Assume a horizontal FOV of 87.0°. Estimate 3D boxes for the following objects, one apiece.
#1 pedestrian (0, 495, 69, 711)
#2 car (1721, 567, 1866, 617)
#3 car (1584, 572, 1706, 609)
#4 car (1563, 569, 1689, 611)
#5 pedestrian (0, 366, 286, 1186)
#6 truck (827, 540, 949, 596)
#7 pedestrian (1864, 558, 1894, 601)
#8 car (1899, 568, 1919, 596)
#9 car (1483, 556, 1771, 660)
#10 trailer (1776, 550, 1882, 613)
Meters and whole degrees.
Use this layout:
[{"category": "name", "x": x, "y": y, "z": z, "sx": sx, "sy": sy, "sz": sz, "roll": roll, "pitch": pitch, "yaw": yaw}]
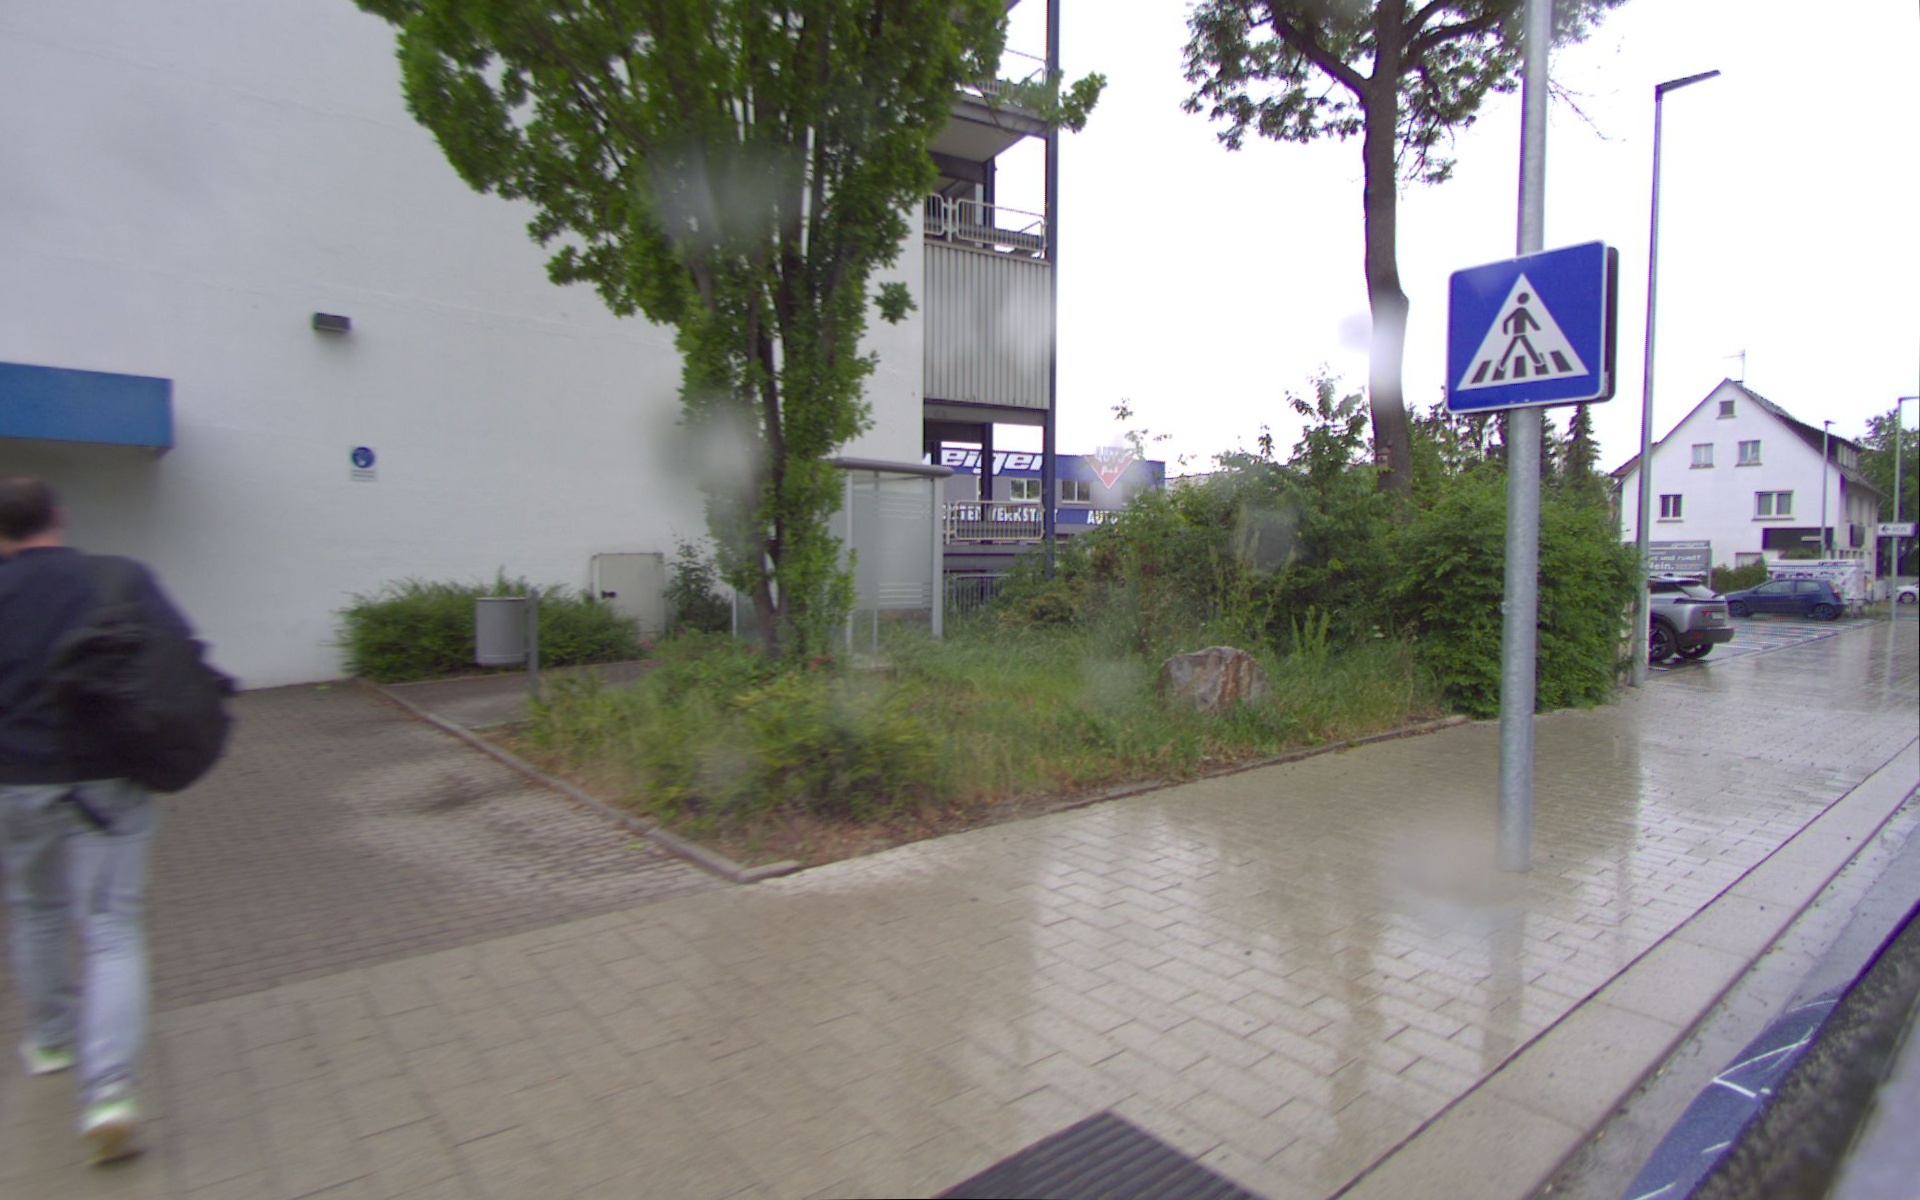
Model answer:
[{"category": "pedestrian", "x": -8.402, "y": 0.023, "z": 8.953, "sx": 0.759, "sy": 1.859, "sz": 0.570, "roll": 0, "pitch": 1, "yaw": -43}, {"category": "car", "x": 29.690, "y": -0.333, "z": 36.112, "sx": 1.621, "sy": 1.547, "sz": 3.734, "roll": -2, "pitch": 4, "yaw": -40}, {"category": "car", "x": 27.061, "y": -0.406, "z": 40.066, "sx": 1.665, "sy": 1.331, "sz": 3.730, "roll": -1, "pitch": 3, "yaw": -43}, {"category": "car", "x": 25.299, "y": -0.409, "z": 38.524, "sx": 1.702, "sy": 1.467, "sz": 3.730, "roll": -1, "pitch": 3, "yaw": -43}, {"category": "pedestrian", "x": -2.288, "y": 0.366, "z": 2.617, "sx": 0.759, "sy": 1.746, "sz": 1.014, "roll": 0, "pitch": 1, "yaw": -43}, {"category": "truck", "x": -3.328, "y": -1.490, "z": 46.883, "sx": 5.204, "sy": 2.297, "sz": 2.001, "roll": -3, "pitch": 0, "yaw": -31}, {"category": "pedestrian", "x": 44.658, "y": -0.991, "z": 49.183, "sx": 1.175, "sy": 2.038, "sz": 0.860, "roll": -1, "pitch": 4, "yaw": -42}, {"category": "car", "x": 57.588, "y": -0.980, "z": 58.822, "sx": 4.118, "sy": 1.599, "sz": 1.975, "roll": 4, "pitch": 3, "yaw": 36}, {"category": "car", "x": 12.839, "y": 0.050, "z": 19.774, "sx": 1.960, "sy": 1.669, "sz": 4.227, "roll": -1, "pitch": 4, "yaw": -30}, {"category": "trailer", "x": 31.913, "y": -0.701, "z": 37.202, "sx": 1.520, "sy": 2.198, "sz": 2.709, "roll": -1, "pitch": 2, "yaw": -38}]
